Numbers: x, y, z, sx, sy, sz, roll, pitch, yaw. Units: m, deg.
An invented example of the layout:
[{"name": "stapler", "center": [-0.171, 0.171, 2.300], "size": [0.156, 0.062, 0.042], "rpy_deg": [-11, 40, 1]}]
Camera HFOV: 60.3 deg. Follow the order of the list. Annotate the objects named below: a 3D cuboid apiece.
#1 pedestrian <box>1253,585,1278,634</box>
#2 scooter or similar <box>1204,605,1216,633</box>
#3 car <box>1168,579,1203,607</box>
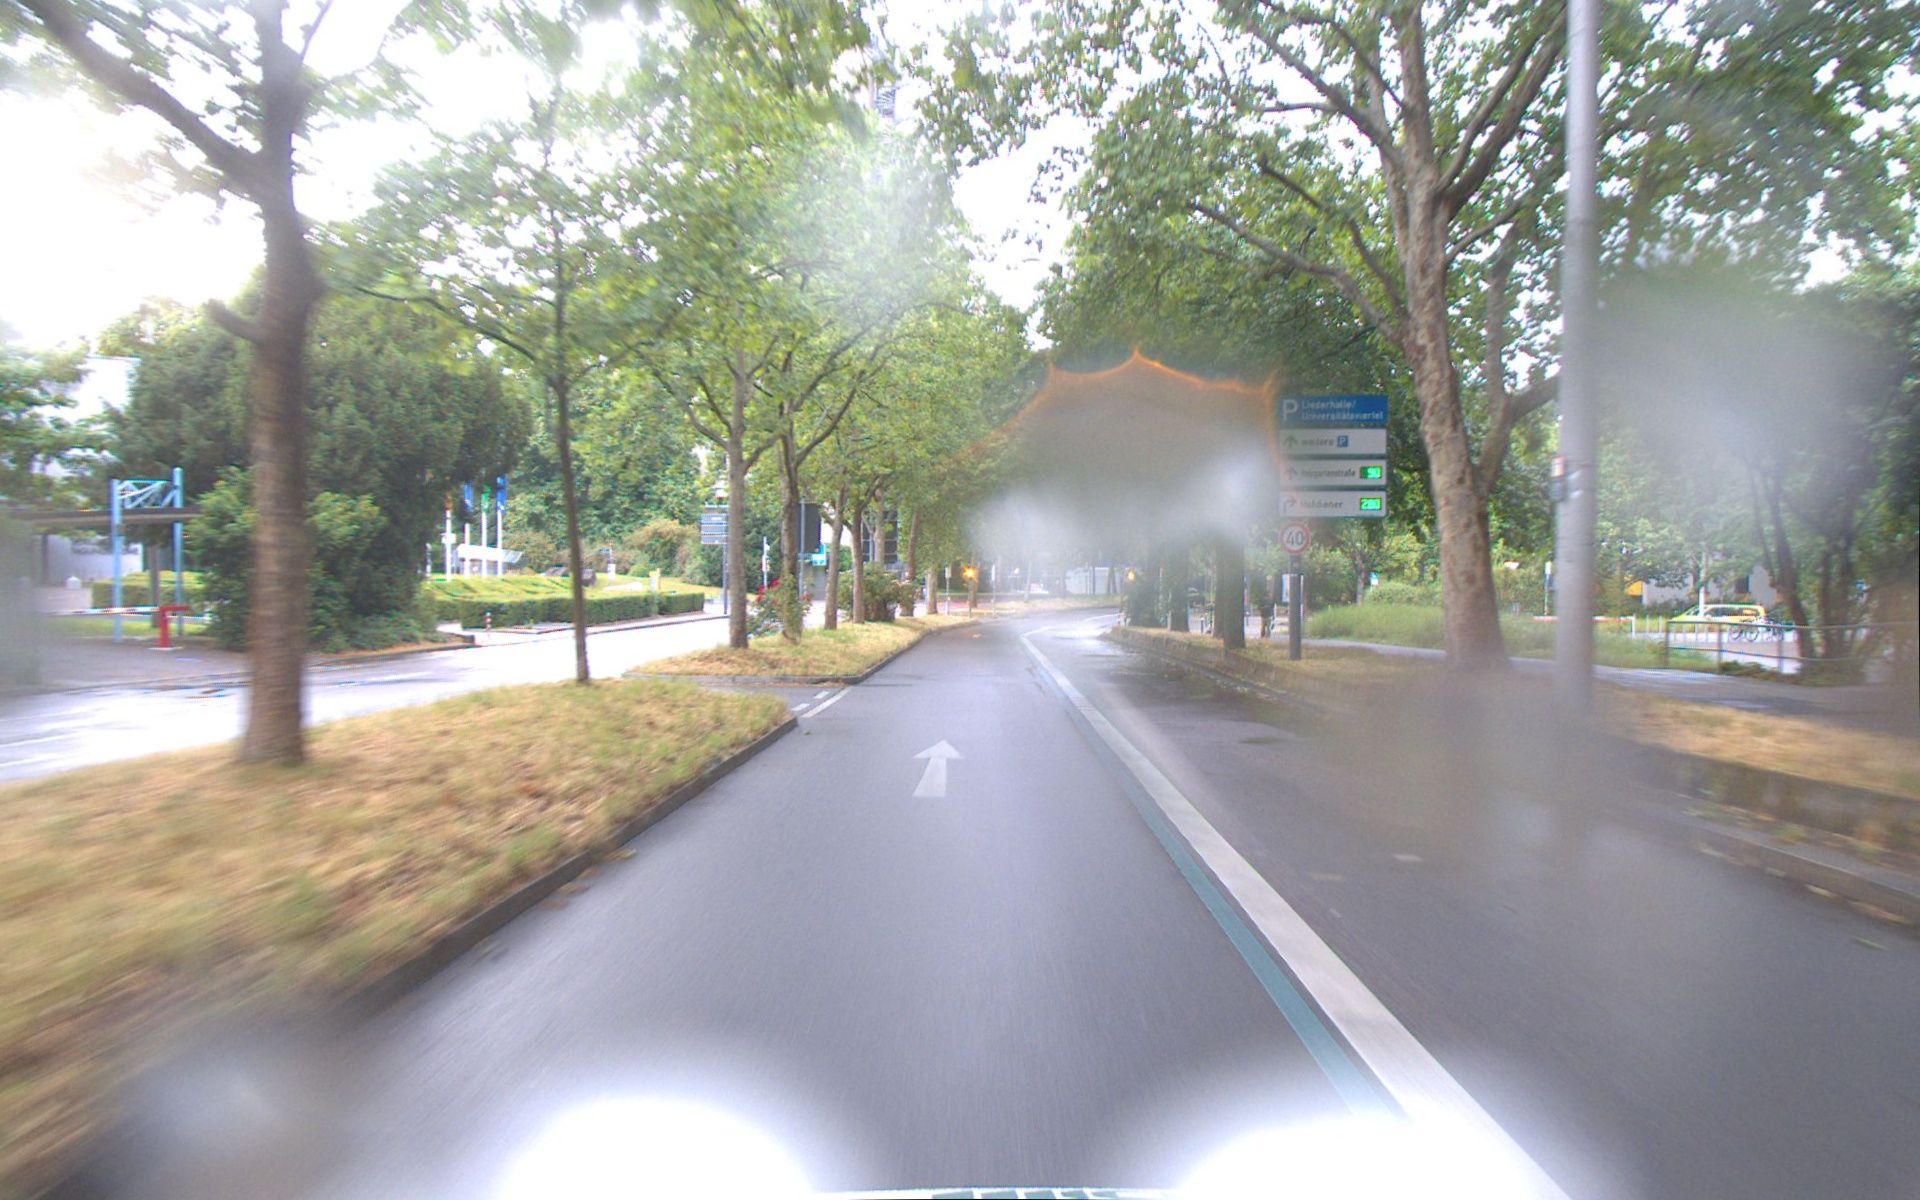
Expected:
[{"name": "pedestrian", "center": [10.507, 0.314, 56.862], "size": [0.688, 1.667, 0.935], "rpy_deg": [0, 0, 0]}, {"name": "scooter or similar", "center": [9.282, 0.704, 61.422], "size": [0.286, 1.043, 1.066], "rpy_deg": [0, 0, 0]}, {"name": "car", "center": [17.217, -0.524, 126.135], "size": [1.952, 2.049, 4.002], "rpy_deg": [0, 0, 19]}]
